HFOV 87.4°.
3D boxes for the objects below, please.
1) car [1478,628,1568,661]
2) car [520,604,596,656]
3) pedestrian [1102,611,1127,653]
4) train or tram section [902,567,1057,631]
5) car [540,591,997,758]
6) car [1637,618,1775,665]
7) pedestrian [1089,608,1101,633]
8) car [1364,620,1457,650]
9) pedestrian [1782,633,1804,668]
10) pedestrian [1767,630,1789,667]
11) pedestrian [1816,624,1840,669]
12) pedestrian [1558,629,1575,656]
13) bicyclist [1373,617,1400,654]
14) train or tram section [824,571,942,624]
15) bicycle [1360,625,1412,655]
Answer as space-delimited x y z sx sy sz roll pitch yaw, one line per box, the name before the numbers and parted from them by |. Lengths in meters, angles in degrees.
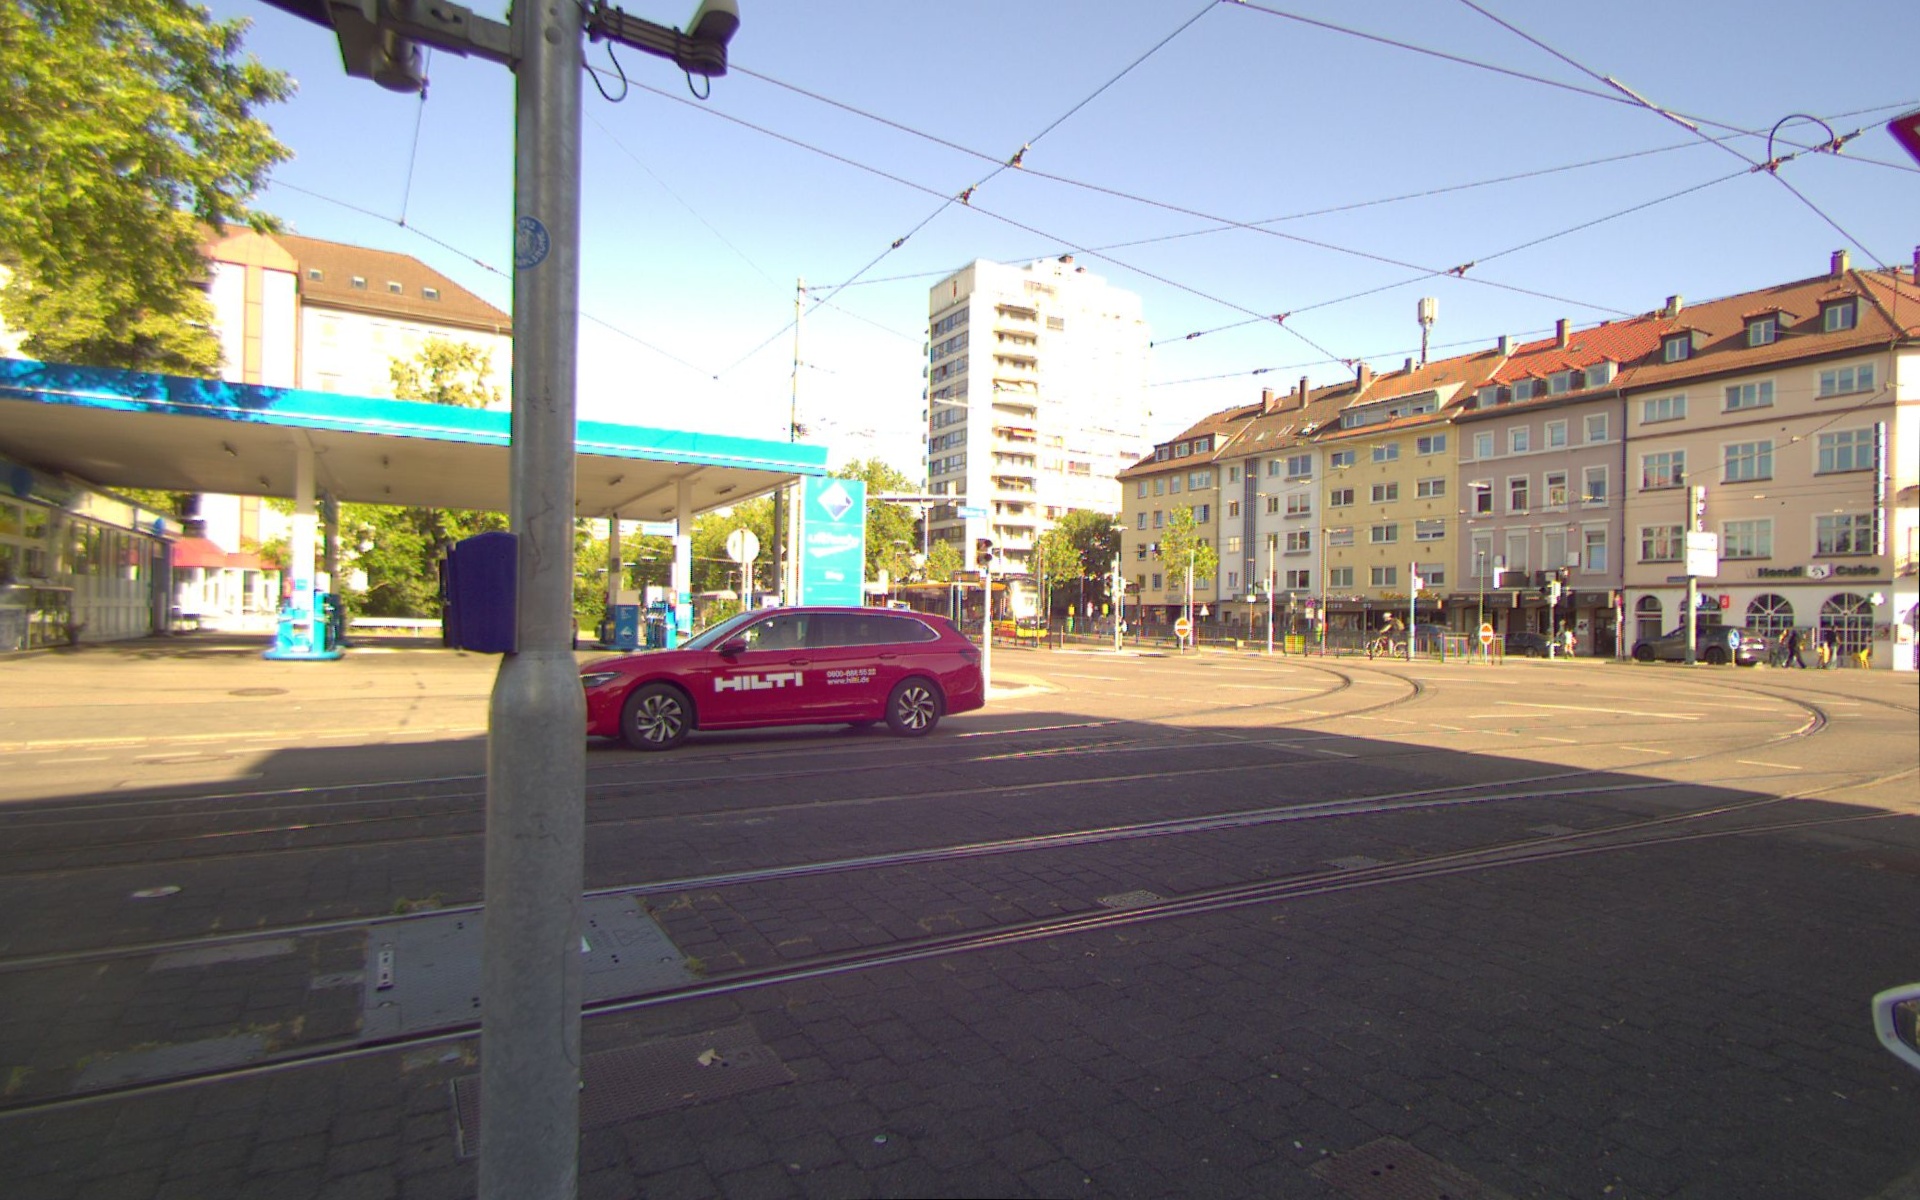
car | 30.860 2.415 55.138 1.970 1.692 3.981 1 -1 -21
car | -12.069 0.857 30.075 1.764 1.411 3.455 2 0 -28
pedestrian | 6.253 1.300 40.599 0.675 1.656 0.694 2 0 -35
train or tram section | 0.758 -0.094 57.539 2.751 3.273 12.286 2 0 -31
car | -2.079 0.783 11.274 4.705 1.542 1.900 2 -2 -28
car | 29.717 1.620 40.176 1.920 1.639 4.169 2 0 -13
pedestrian | 9.364 1.413 69.488 0.570 1.649 0.522 2 0 -31
car | 23.365 1.801 52.233 1.980 1.394 3.961 2 0 -35
pedestrian | 36.277 2.183 43.740 0.460 1.496 0.629 2 0 -33
pedestrian | 36.370 2.143 44.642 0.460 1.633 0.629 2 0 -33
pedestrian | 37.287 2.004 43.136 0.460 1.906 0.629 2 0 -33
pedestrian | 33.259 2.328 55.068 0.460 1.496 0.629 2 0 -33
bicyclist | 16.531 1.358 38.911 0.787 1.384 0.560 2 0 2
train or tram section | -5.499 -0.206 68.041 2.751 3.273 12.286 2 0 -31
bicycle | 16.494 1.536 38.906 1.759 1.084 0.575 2 0 1
